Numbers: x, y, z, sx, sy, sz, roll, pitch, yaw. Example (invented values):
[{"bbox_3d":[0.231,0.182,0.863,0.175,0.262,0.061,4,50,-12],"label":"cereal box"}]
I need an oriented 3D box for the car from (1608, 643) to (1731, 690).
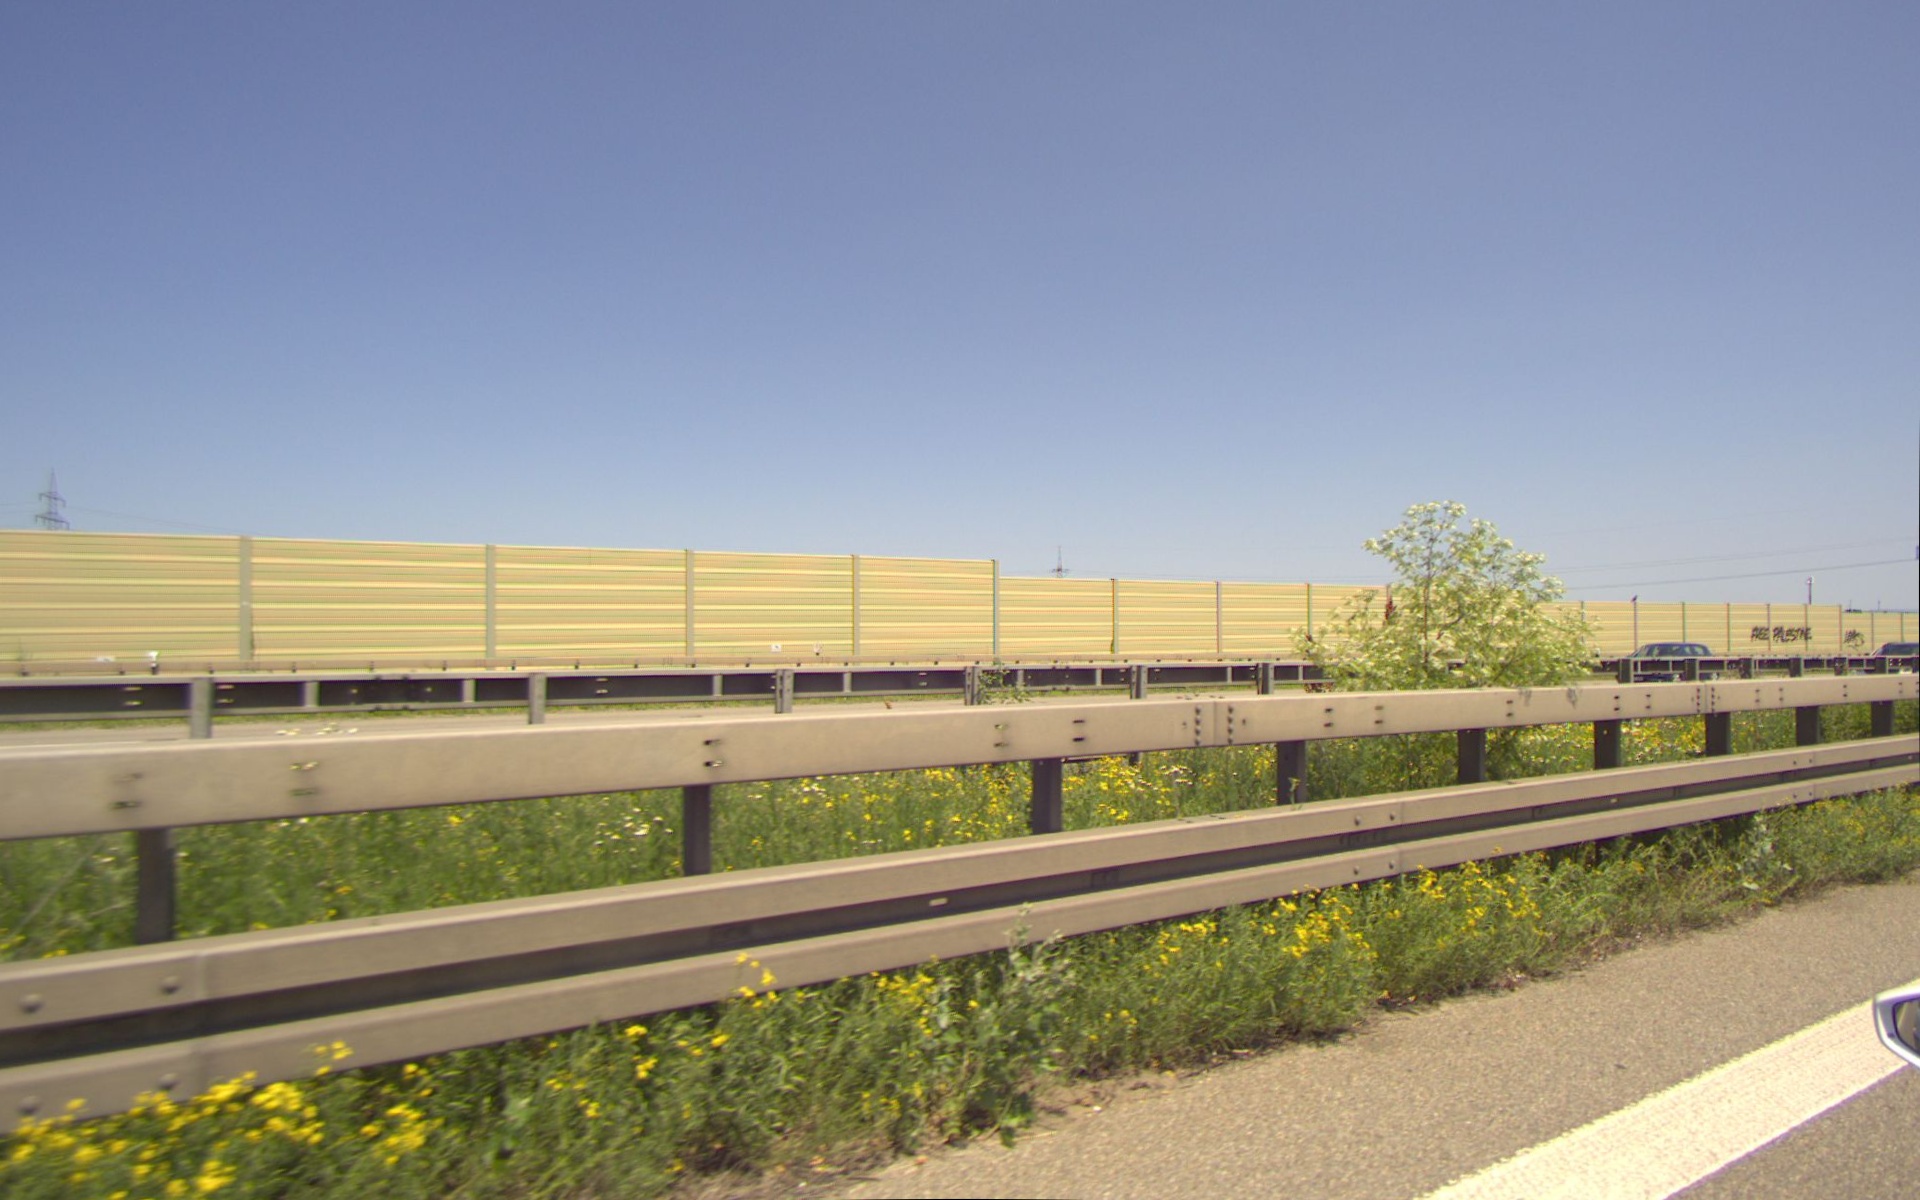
[{"bbox_3d":[23.886,2.196,33.768,4.432,1.428,1.710,2,0,-30],"label":"car"}]

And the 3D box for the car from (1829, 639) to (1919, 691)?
[{"bbox_3d":[31.322,2.124,33.457,5.244,1.615,1.984,2,-3,-30],"label":"car"}]
